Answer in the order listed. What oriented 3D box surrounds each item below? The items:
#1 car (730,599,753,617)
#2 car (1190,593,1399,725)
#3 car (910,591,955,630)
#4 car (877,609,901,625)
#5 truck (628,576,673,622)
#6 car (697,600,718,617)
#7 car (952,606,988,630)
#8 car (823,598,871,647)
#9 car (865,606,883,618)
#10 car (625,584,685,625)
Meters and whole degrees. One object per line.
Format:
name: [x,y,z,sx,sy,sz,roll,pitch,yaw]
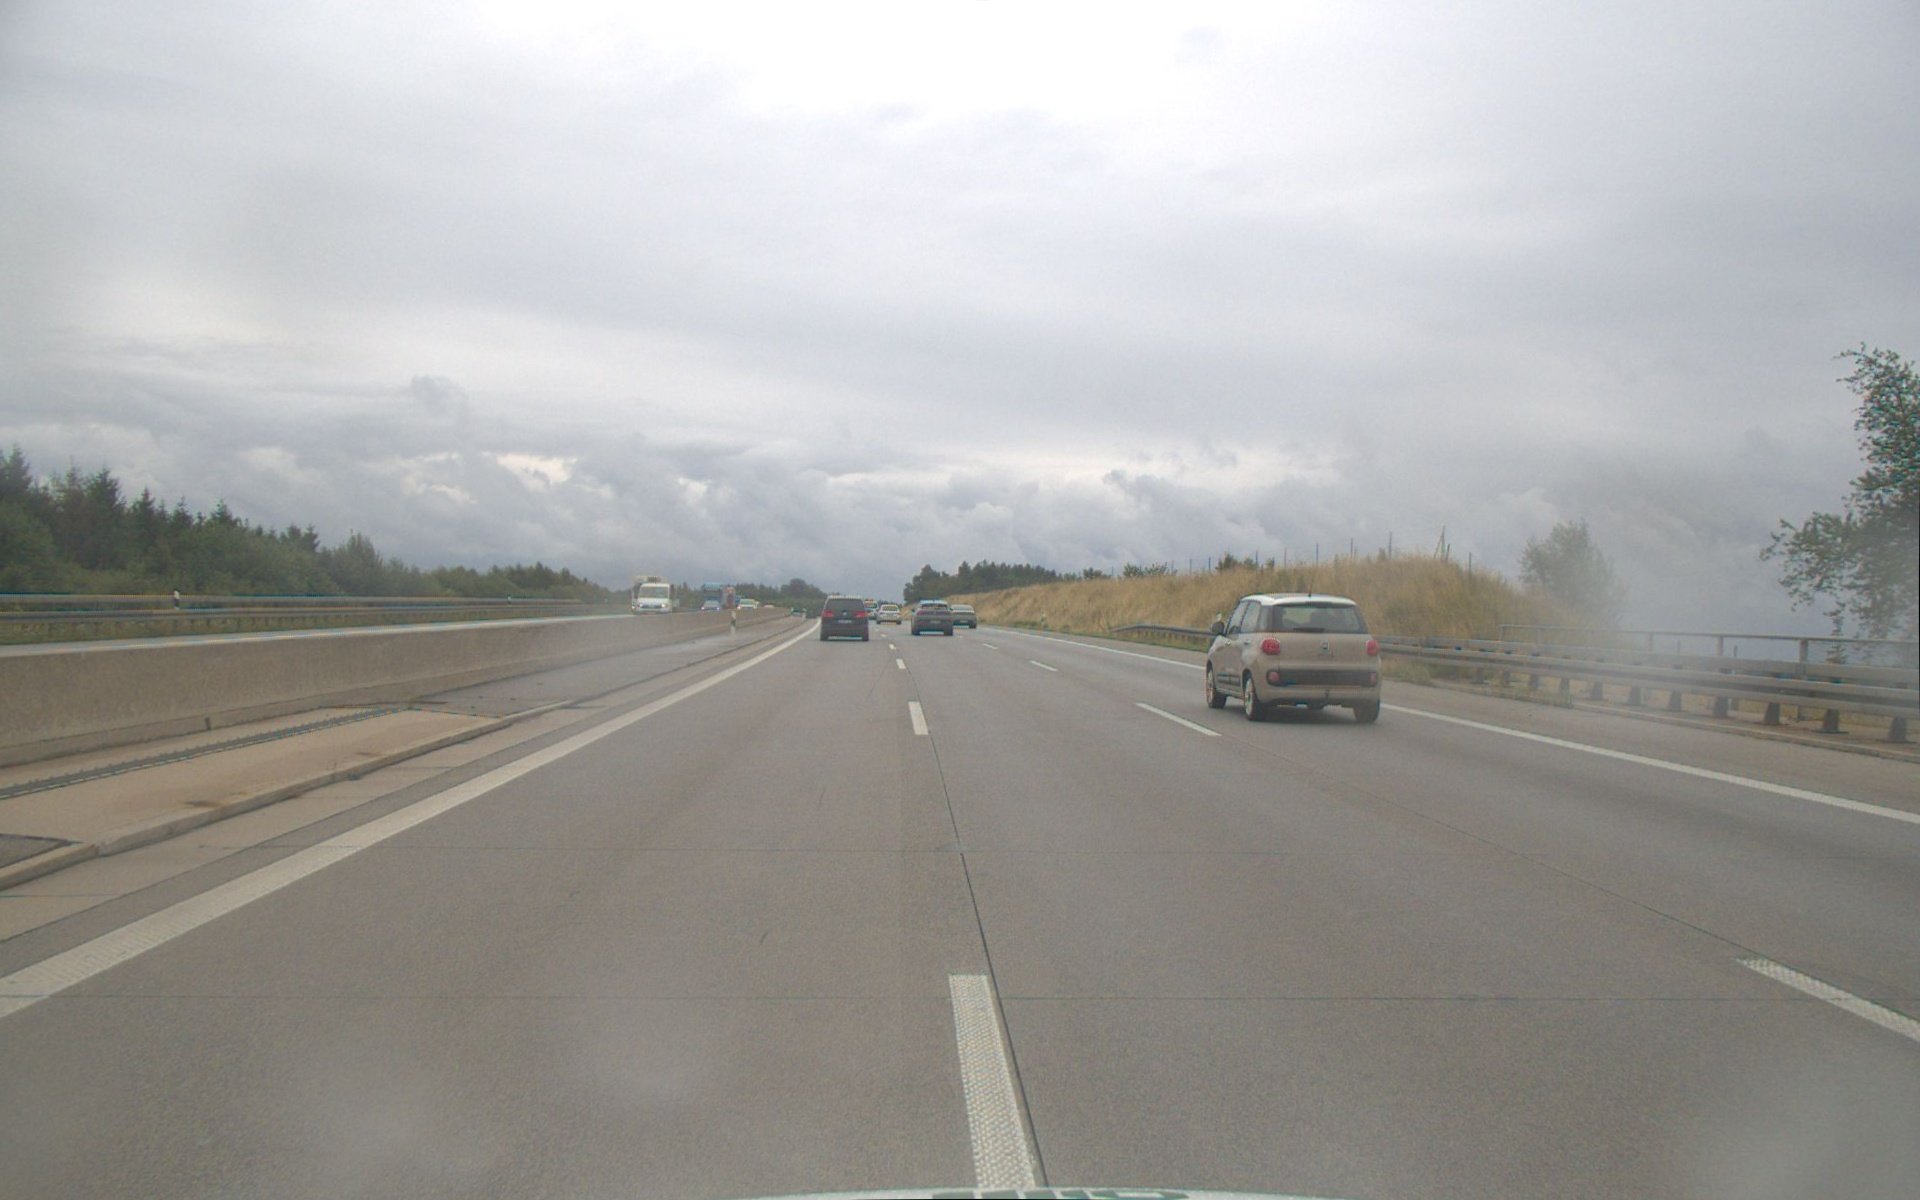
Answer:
car: [-20.191,0.722,152.896,1.708,1.594,4.496,1,0,-3]
car: [4.546,0.754,23.180,1.750,1.633,4.567,1,0,-3]
car: [-1.347,0.495,78.148,1.860,1.719,5.262,1,0,-4]
car: [-5.369,1.281,125.701,1.761,1.143,3.998,1,0,-2]
truck: [-27.541,-0.086,147.456,2.841,3.931,8.892,1,0,-4]
car: [-24.516,0.818,160.579,1.597,1.594,4.407,1,0,-4]
car: [0.607,1.123,106.534,1.974,1.471,4.741,1,0,-3]
car: [-4.292,0.846,63.030,1.750,1.777,3.912,1,0,-3]
car: [-9.004,1.242,174.055,1.761,1.243,3.998,1,0,-2]
car: [-18.881,0.285,102.826,2.568,2.442,7.512,1,0,-3]
